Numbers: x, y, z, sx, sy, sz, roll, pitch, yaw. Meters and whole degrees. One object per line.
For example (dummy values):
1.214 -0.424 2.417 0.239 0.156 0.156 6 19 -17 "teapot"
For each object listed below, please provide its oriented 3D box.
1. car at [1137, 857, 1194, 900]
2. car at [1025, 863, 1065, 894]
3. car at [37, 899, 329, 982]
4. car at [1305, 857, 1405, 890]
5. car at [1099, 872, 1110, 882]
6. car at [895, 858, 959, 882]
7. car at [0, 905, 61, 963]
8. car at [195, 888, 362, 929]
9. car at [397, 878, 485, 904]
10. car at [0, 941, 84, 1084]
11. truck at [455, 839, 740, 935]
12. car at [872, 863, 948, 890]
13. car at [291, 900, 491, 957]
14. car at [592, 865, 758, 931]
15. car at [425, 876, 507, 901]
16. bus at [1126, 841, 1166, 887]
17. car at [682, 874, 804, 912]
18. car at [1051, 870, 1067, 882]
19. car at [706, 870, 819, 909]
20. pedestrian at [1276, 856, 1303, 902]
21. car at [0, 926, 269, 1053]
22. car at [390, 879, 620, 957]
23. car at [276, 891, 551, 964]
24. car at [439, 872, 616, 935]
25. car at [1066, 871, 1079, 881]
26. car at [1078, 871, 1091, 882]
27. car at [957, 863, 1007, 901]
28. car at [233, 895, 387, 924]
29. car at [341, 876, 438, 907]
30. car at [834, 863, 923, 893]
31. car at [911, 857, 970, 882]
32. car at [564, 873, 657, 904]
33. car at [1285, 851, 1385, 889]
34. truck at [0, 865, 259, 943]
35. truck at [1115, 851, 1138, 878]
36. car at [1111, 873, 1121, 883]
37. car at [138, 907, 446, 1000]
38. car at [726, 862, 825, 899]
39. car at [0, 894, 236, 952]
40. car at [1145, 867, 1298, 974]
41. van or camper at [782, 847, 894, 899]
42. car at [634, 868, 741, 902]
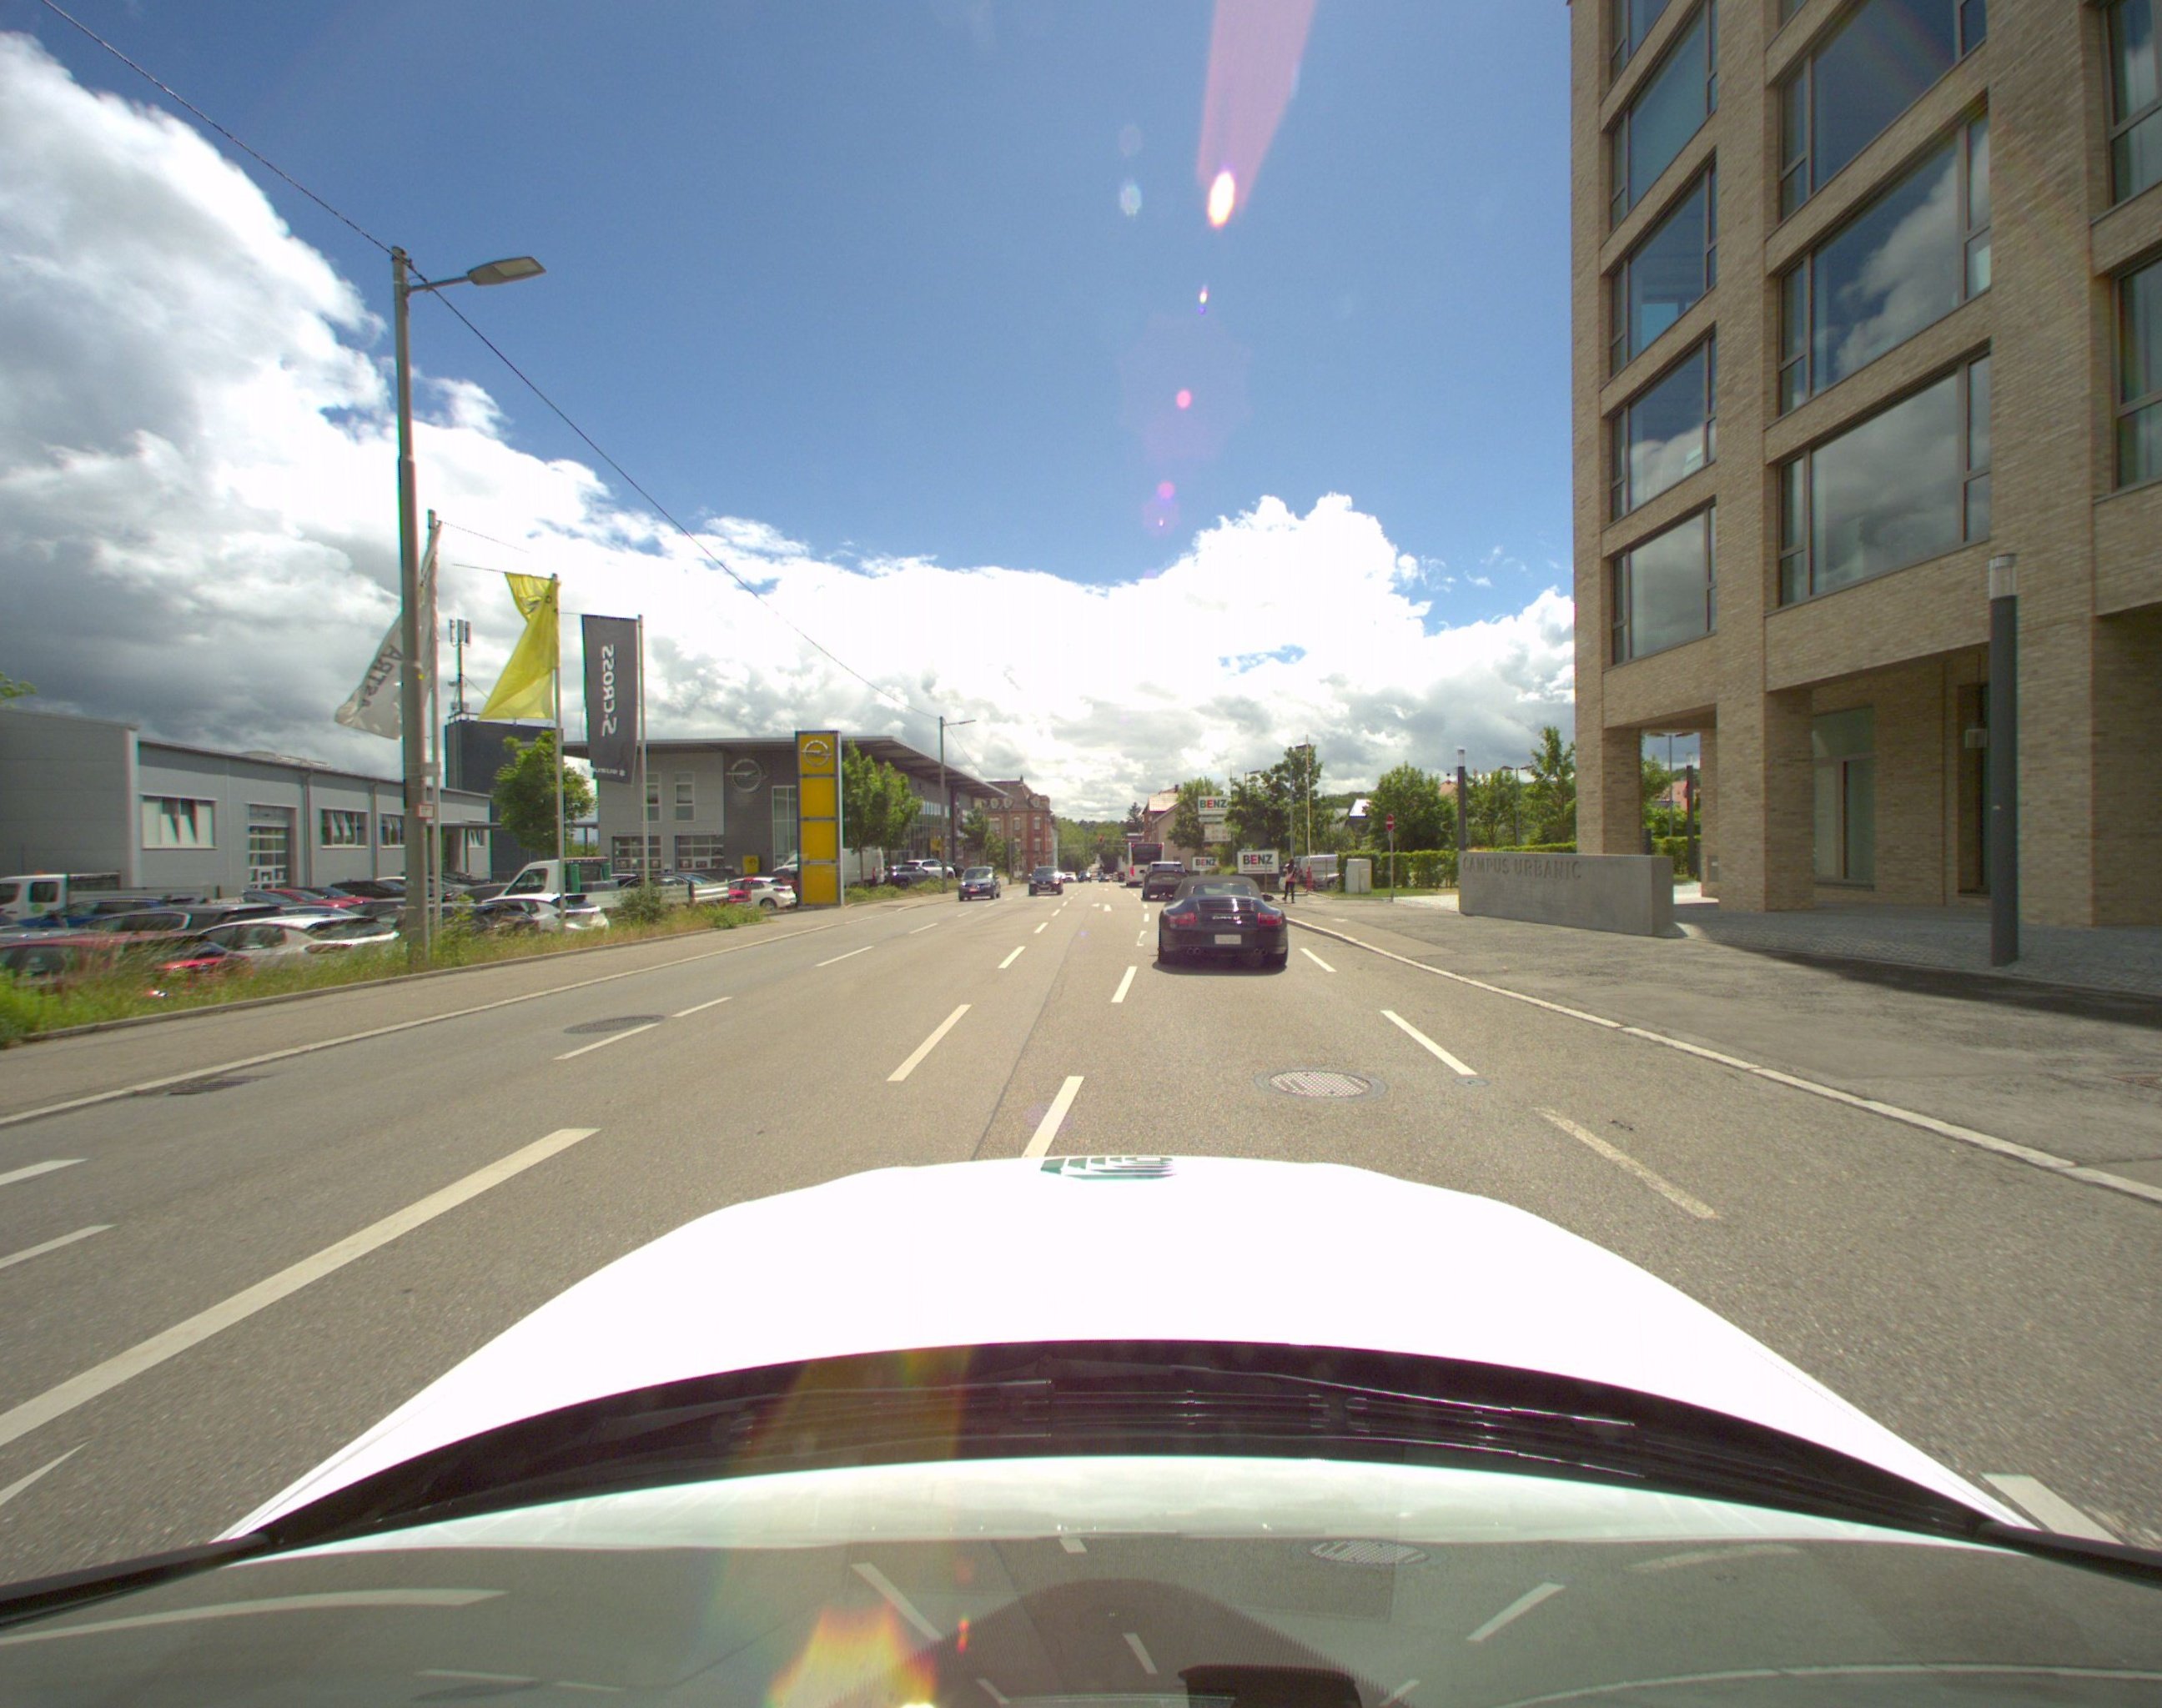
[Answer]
3.482 0.974 34.233 1.924 1.583 4.207 -1 1 0 "car"
-1.837 1.268 43.032 1.823 1.509 4.276 -2 -1 0 "car"
-17.356 1.643 15.883 3.667 1.409 1.836 -1 -1 1 "car"
13.877 0.985 41.439 4.417 1.482 2.000 -2 -1 1 "car"
3.929 3.910 137.114 1.857 1.666 4.259 -1 -1 1 "car"
-10.522 1.116 55.980 1.913 1.573 4.579 -2 -1 25 "car"
-31.261 2.212 21.975 4.241 1.409 1.916 0 1 -19 "car"
-31.413 2.111 32.052 4.244 1.409 1.914 0 -1 -22 "car"
-35.873 2.071 45.750 3.475 1.284 1.654 -1 1 -16 "car"
-12.792 1.681 8.293 3.321 1.409 1.729 -1 -1 5 "car"
-12.349 0.825 21.165 5.844 2.148 2.475 -2 -2 -1 "truck"
-10.580 1.354 50.750 1.877 1.450 4.863 0 1 30 "car"
-17.922 1.920 21.261 3.808 1.328 1.646 -1 -1 1 "car"
-12.048 1.290 24.344 3.971 1.588 1.755 -4 0 2 "car"
-36.177 2.038 47.997 3.475 1.284 1.654 -1 1 -16 "car"
4.957 0.611 63.357 2.790 3.197 12.208 -1 1 4 "bus"
-13.423 1.520 32.506 3.974 1.409 2.000 -1 -1 0 "car"
-2.934 2.969 109.041 1.866 1.491 3.847 -4 -1 -1 "car"
-13.597 1.517 34.952 3.969 1.491 2.003 -1 1 4 "car"
7.132 0.834 27.883 0.685 1.536 0.856 -2 0 2 "pedestrian"
-13.842 1.757 10.971 4.013 1.386 1.931 -1 -1 5 "car"
-12.994 1.410 18.558 3.871 1.609 1.929 -1 -1 1 "car"
-12.704 1.368 15.695 3.703 1.211 1.929 -1 -1 1 "car"
-16.907 1.488 25.019 4.065 1.522 1.827 -4 1 1 "car"
-1.278 3.493 128.112 1.856 1.540 4.109 -1 -1 2 "car"
0.527 3.203 118.083 1.857 1.540 4.107 -1 -1 1 "car"
-4.708 1.299 39.191 1.738 1.595 4.042 -4 0 1 "car"
-32.232 2.288 34.210 4.299 1.023 1.780 0 -1 -22 "car"
-36.360 1.957 42.941 3.475 1.398 1.654 -1 1 -16 "car"
-11.494 1.342 46.315 4.500 1.509 1.920 -1 -1 -40 "car"
-10.460 1.124 60.820 1.975 1.698 4.512 0 1 28 "car"
-24.437 1.778 42.385 3.688 1.398 1.845 -1 1 -4 "car"
13.755 0.871 44.274 4.701 1.848 2.084 -2 -1 -6 "car"
-31.880 1.601 26.746 6.312 2.229 2.684 -1 -2 -19 "truck"
5.585 1.305 101.406 2.656 3.108 9.038 -2 -1 2 "truck"
7.075 4.803 163.314 1.826 1.882 4.000 -2 0 0 "car"
-12.873 1.595 13.429 3.528 1.325 1.713 -1 -1 5 "car"
-14.890 1.285 39.830 3.965 1.706 2.004 -1 1 7 "car"
-29.184 2.059 24.873 4.244 1.497 1.915 0 -1 -21 "car"
2.054 0.928 13.058 1.922 1.377 4.211 -1 0 3 "car"
-12.545 0.952 42.285 5.009 2.530 2.319 -1 1 1 "van or camper"
-19.056 1.496 39.529 4.213 1.536 1.929 -1 -1 1 "car"
